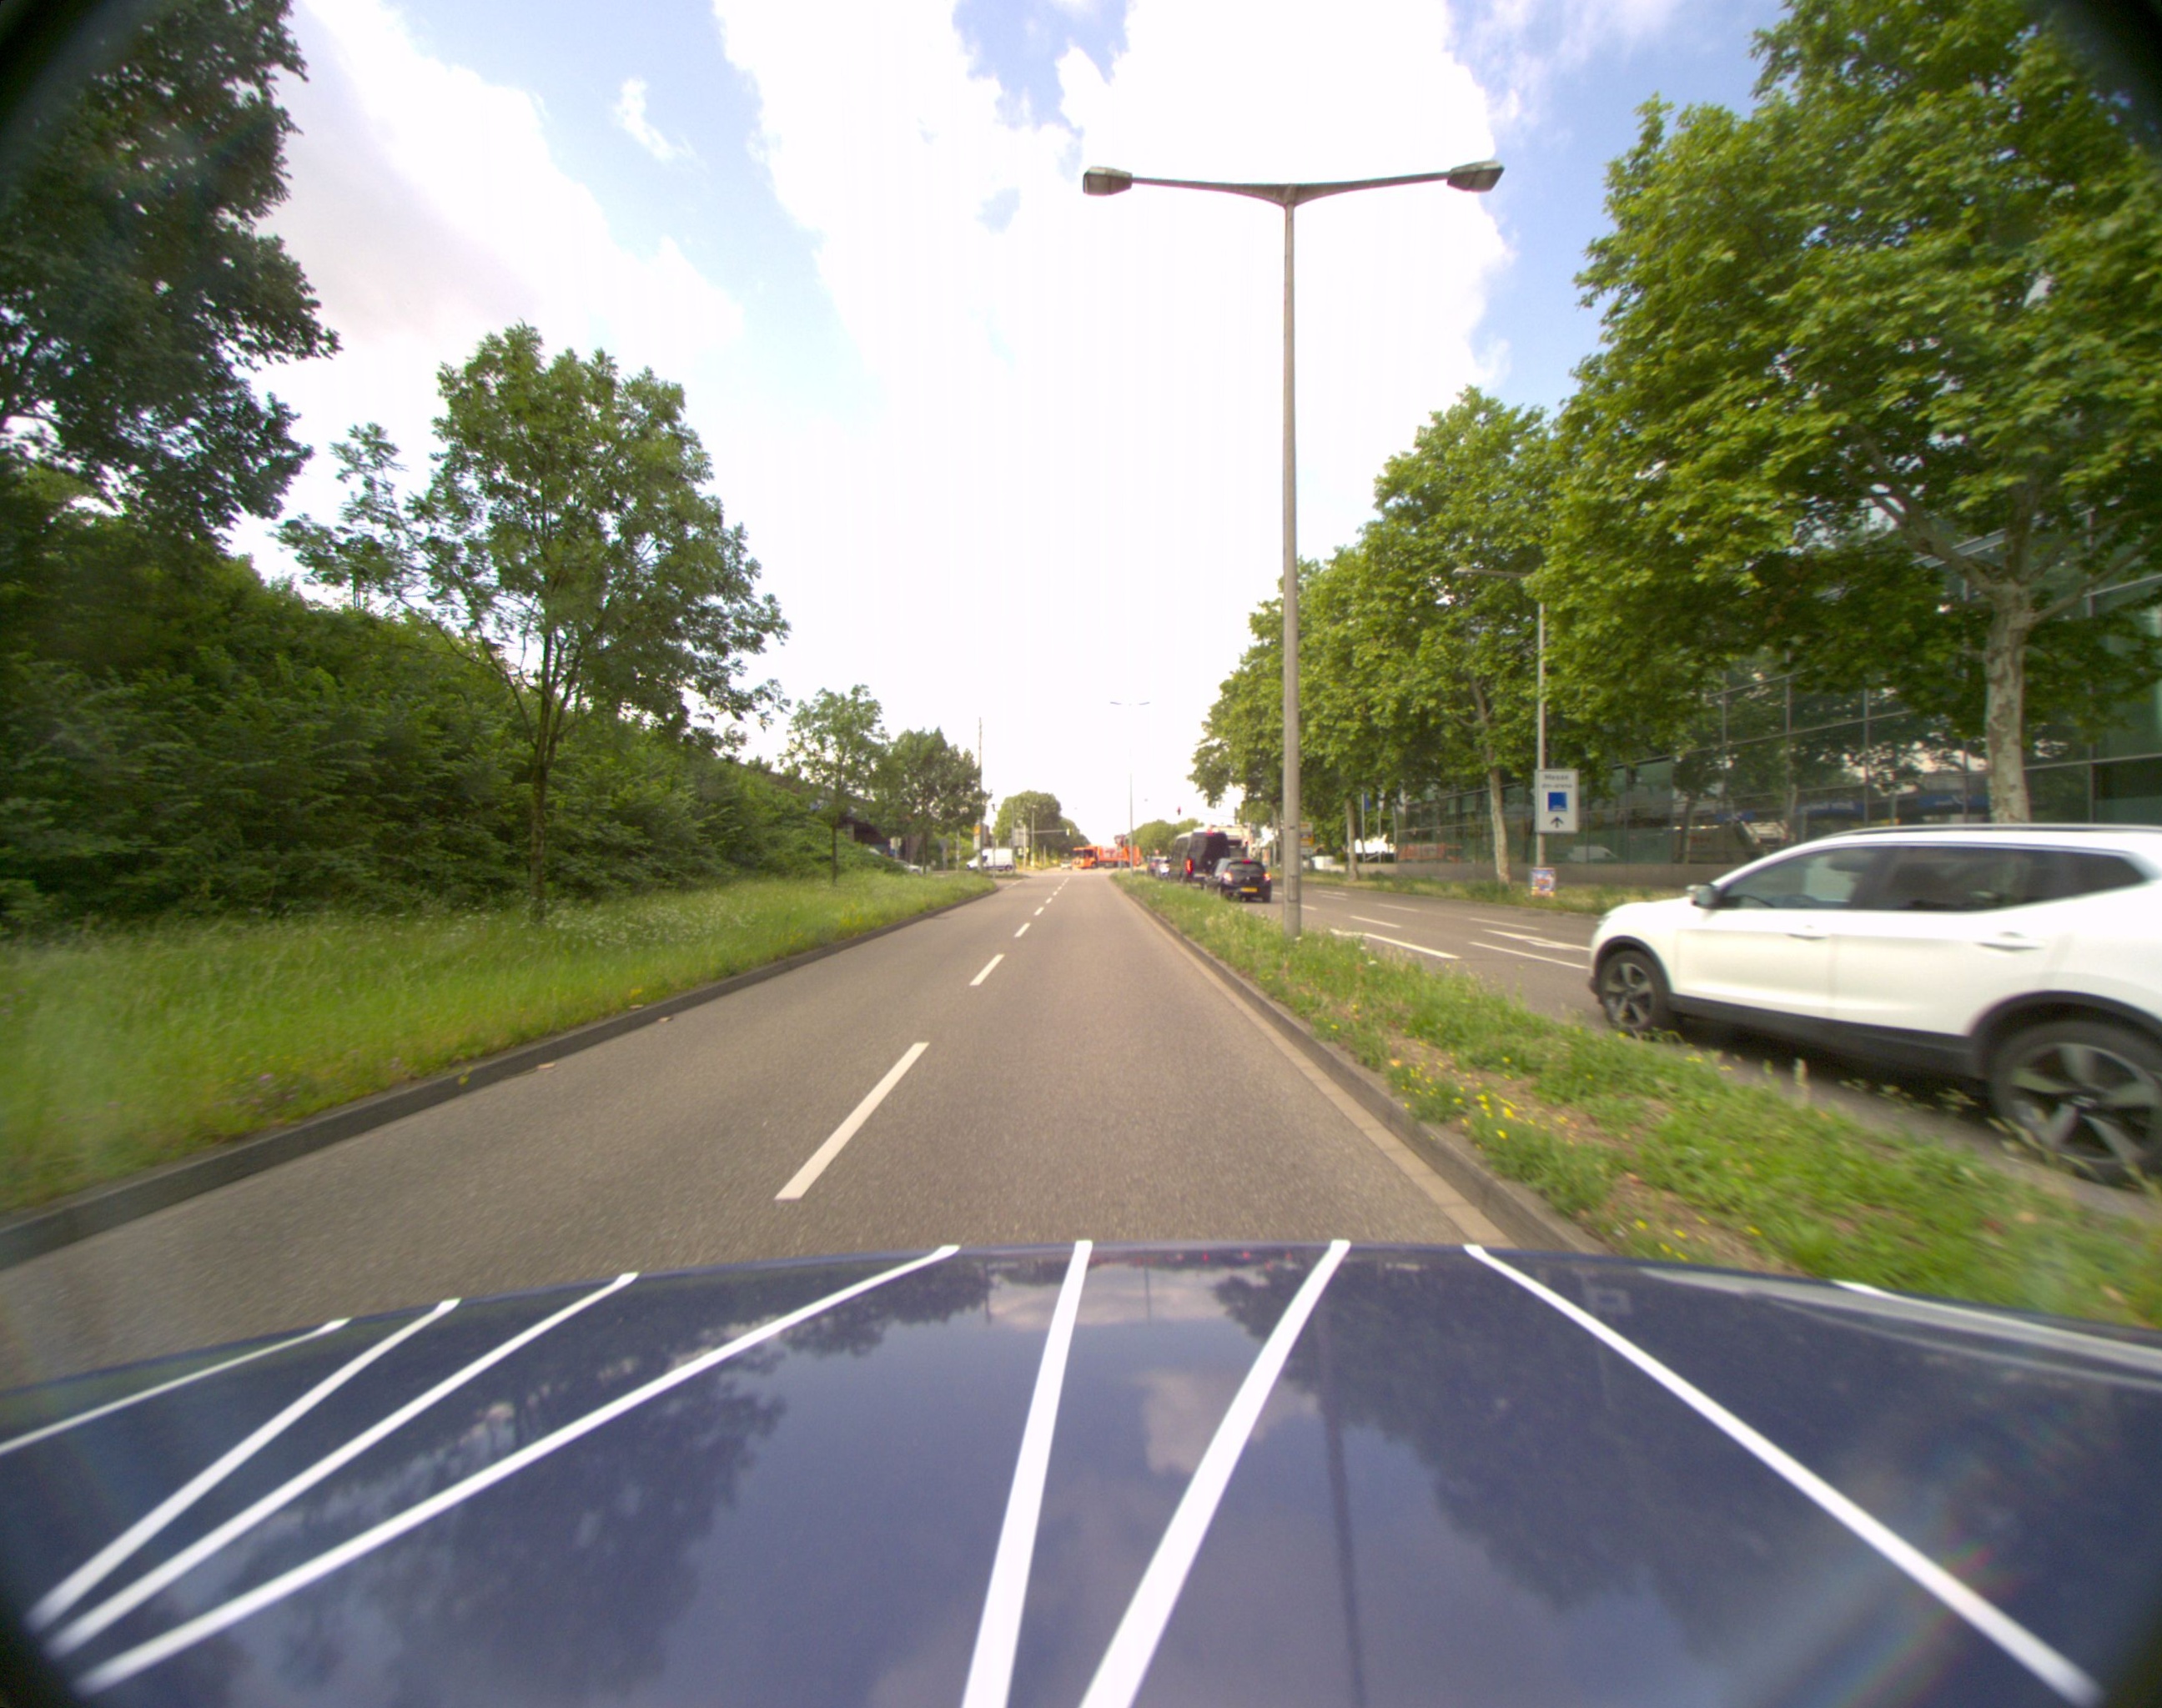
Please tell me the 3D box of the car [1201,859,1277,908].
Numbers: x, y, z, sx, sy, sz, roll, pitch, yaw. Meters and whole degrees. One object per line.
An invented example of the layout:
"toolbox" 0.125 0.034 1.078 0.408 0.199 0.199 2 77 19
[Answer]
"car" 5.300 0.941 25.942 1.698 1.456 3.939 0 1 -1

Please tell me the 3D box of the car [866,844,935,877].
"car" -16.432 0.535 69.441 5.635 2.514 2.258 -4 7 -34

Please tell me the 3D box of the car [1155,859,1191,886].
"car" 5.783 1.125 48.162 1.749 1.544 4.233 1 1 1

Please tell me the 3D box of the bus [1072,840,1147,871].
"bus" 3.939 0.171 102.349 10.410 3.447 2.739 -4 4 -35

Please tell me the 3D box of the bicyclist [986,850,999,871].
"bicyclist" -7.455 0.568 63.906 0.824 1.670 0.843 -3 5 -27

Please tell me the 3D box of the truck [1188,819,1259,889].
"truck" 8.752 -0.012 47.928 2.656 3.865 10.160 1 0 1

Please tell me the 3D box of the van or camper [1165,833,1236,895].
"van or camper" 5.496 0.403 35.995 2.110 2.644 6.715 1 1 -2

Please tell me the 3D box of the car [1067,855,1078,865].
"car" -1.322 0.919 120.078 1.716 1.477 4.000 -1 0 1

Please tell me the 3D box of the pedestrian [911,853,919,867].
"pedestrian" -20.135 0.695 92.030 0.607 1.642 0.693 1 5 30

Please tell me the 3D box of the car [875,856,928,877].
"car" -15.290 1.031 64.839 4.006 1.469 1.702 -4 6 -36

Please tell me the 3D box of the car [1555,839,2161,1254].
"car" 5.133 0.767 4.488 1.819 1.630 4.350 1 0 -2

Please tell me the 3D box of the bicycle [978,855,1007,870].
"bicycle" -7.431 0.698 63.910 2.321 1.088 0.843 -3 5 -27

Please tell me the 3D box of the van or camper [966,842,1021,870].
"van or camper" -10.206 0.166 89.024 5.975 2.771 2.158 -4 5 -36
